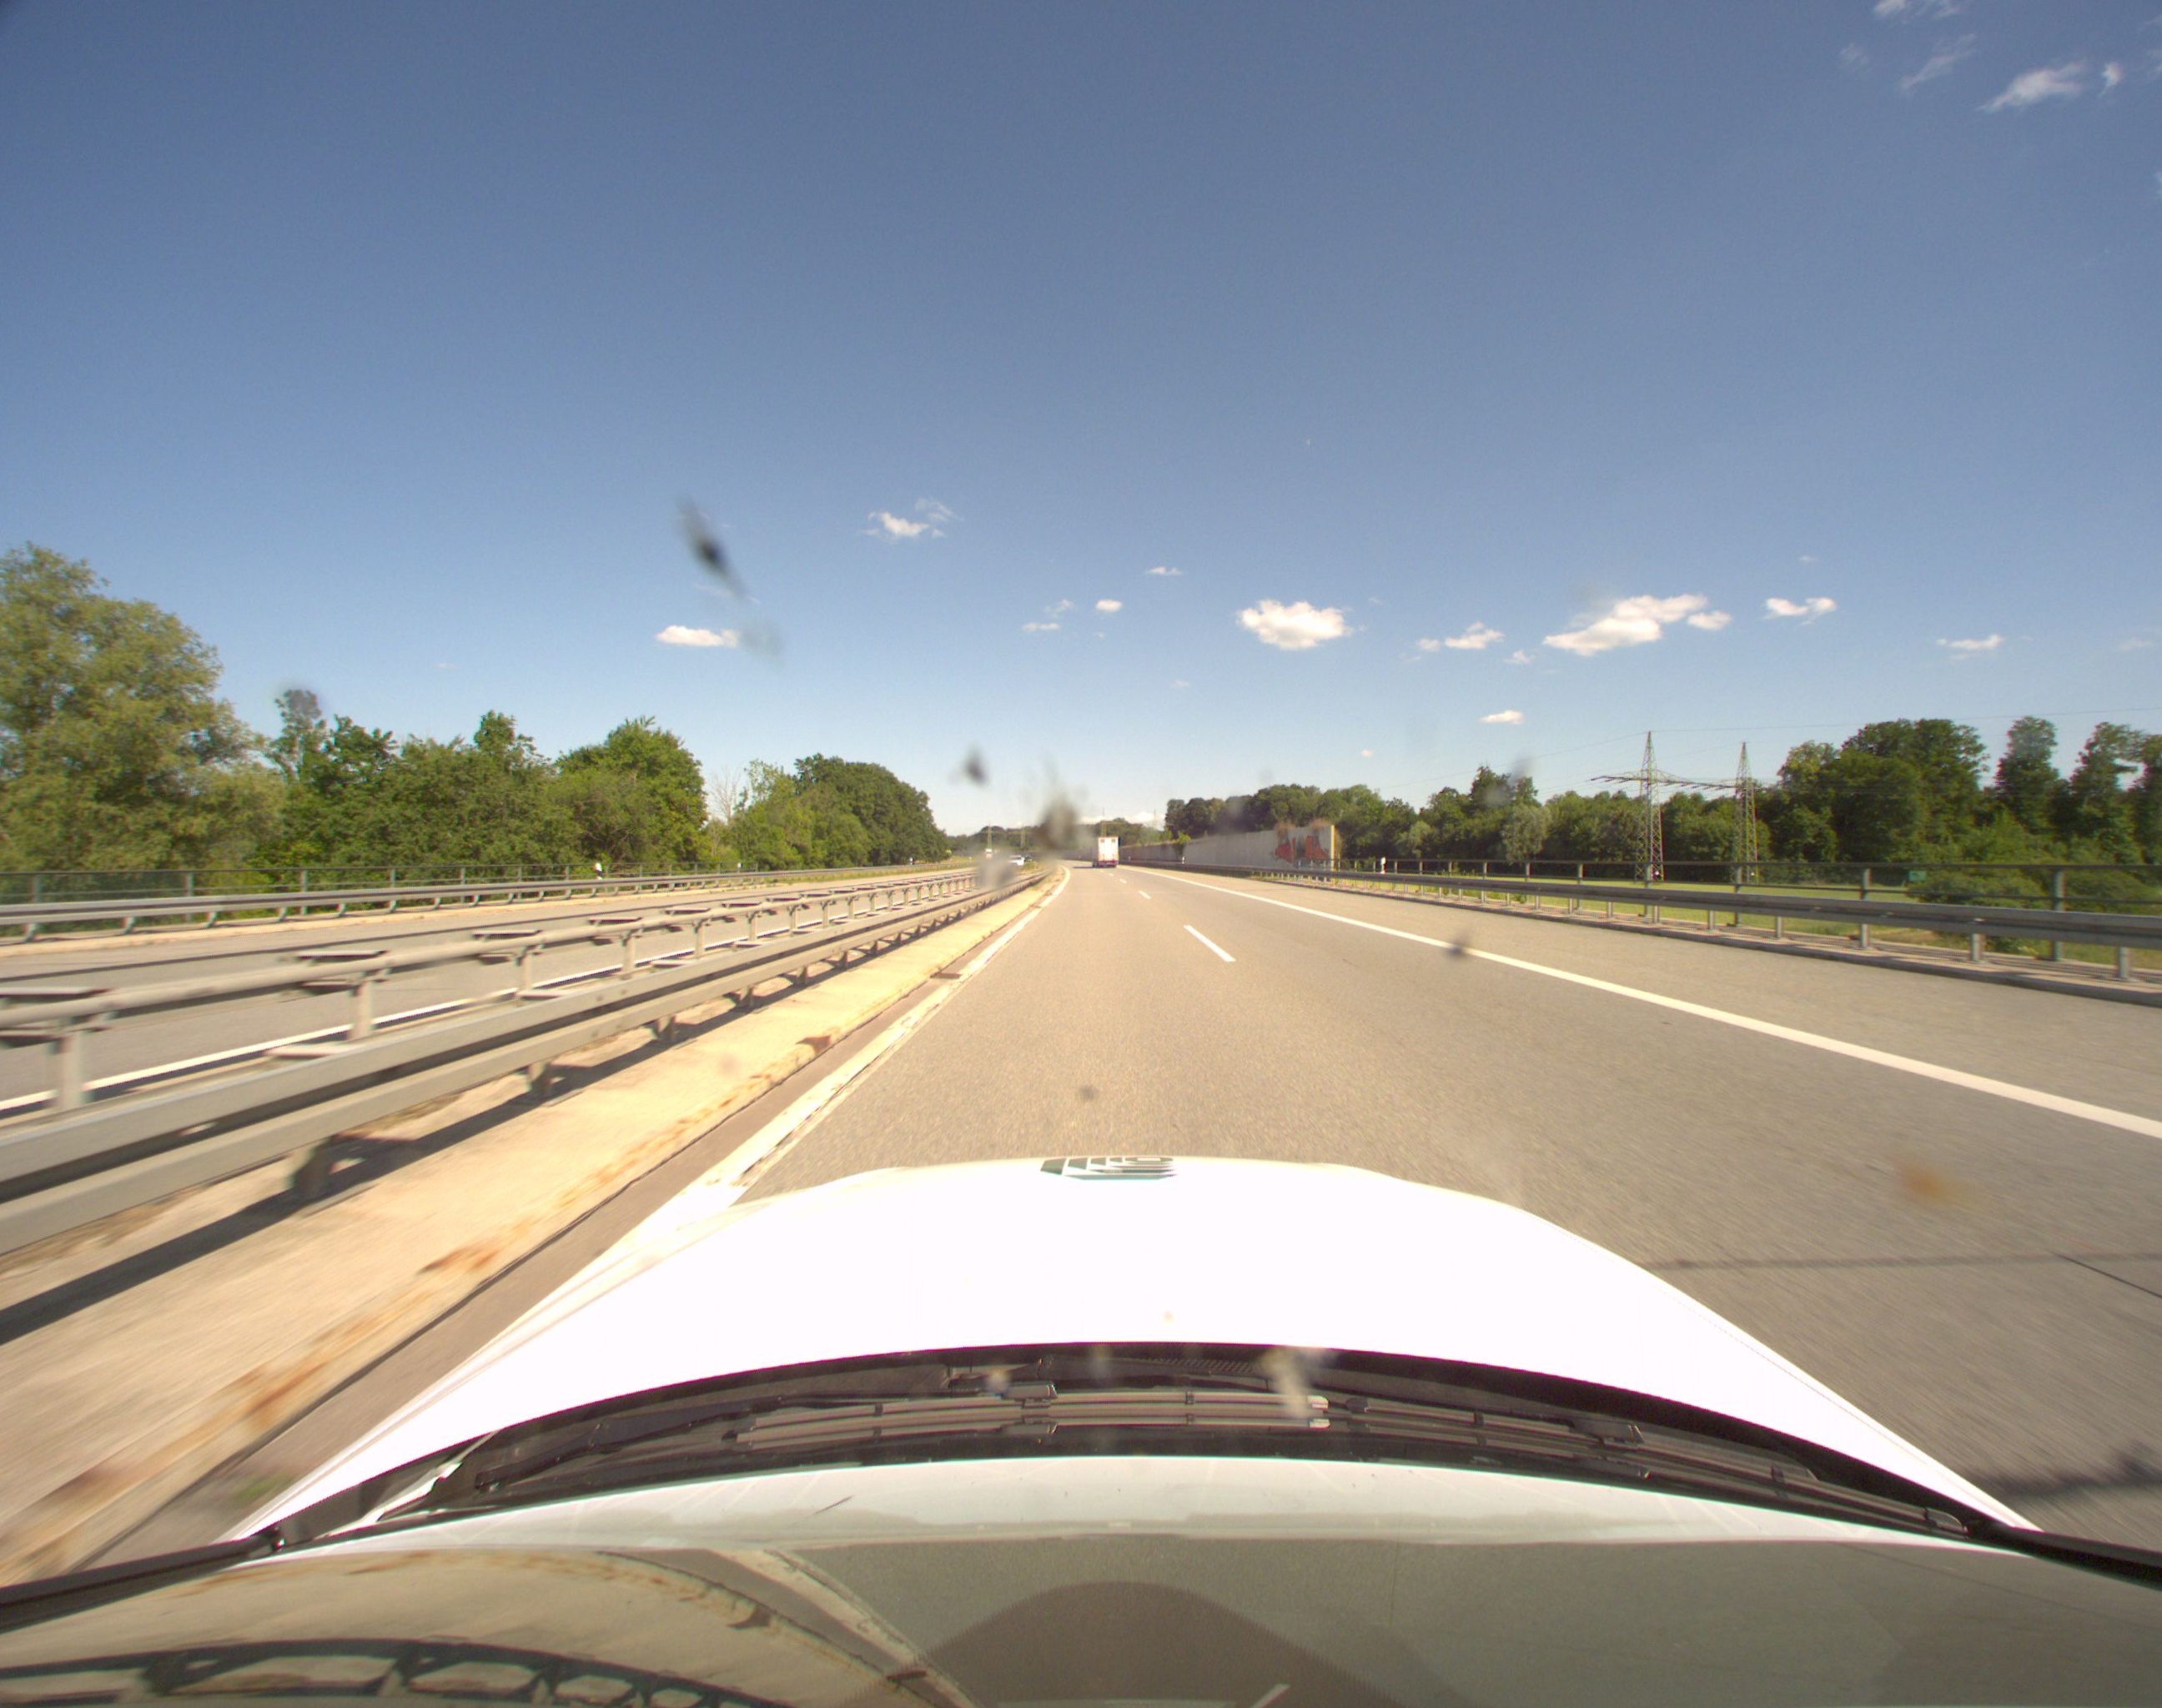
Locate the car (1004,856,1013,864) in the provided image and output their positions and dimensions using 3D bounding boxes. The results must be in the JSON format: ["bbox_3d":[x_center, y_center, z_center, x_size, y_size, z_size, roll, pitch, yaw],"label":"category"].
[{"bbox_3d":[-15.901,1.245,177.839,1.850,1.634,4.486,-1,0,-4],"label":"car"}]

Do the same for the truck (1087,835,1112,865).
[{"bbox_3d":[2.597,-0.538,115.753,2.825,4.012,6.576,-1,0,-4],"label":"truck"}]

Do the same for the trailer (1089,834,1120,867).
[{"bbox_3d":[3.080,-0.414,109.293,2.879,4.066,12.401,-1,0,-4],"label":"trailer"}]

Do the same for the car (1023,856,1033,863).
[{"bbox_3d":[-11.423,1.148,175.340,1.848,1.482,3.997,-1,0,-2],"label":"car"}]

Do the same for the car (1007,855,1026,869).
[{"bbox_3d":[-7.189,0.861,90.884,1.816,1.434,4.647,0,0,-1],"label":"car"}]

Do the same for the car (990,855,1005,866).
[{"bbox_3d":[-11.278,0.913,110.265,1.768,1.470,4.503,0,0,-2],"label":"car"}]
